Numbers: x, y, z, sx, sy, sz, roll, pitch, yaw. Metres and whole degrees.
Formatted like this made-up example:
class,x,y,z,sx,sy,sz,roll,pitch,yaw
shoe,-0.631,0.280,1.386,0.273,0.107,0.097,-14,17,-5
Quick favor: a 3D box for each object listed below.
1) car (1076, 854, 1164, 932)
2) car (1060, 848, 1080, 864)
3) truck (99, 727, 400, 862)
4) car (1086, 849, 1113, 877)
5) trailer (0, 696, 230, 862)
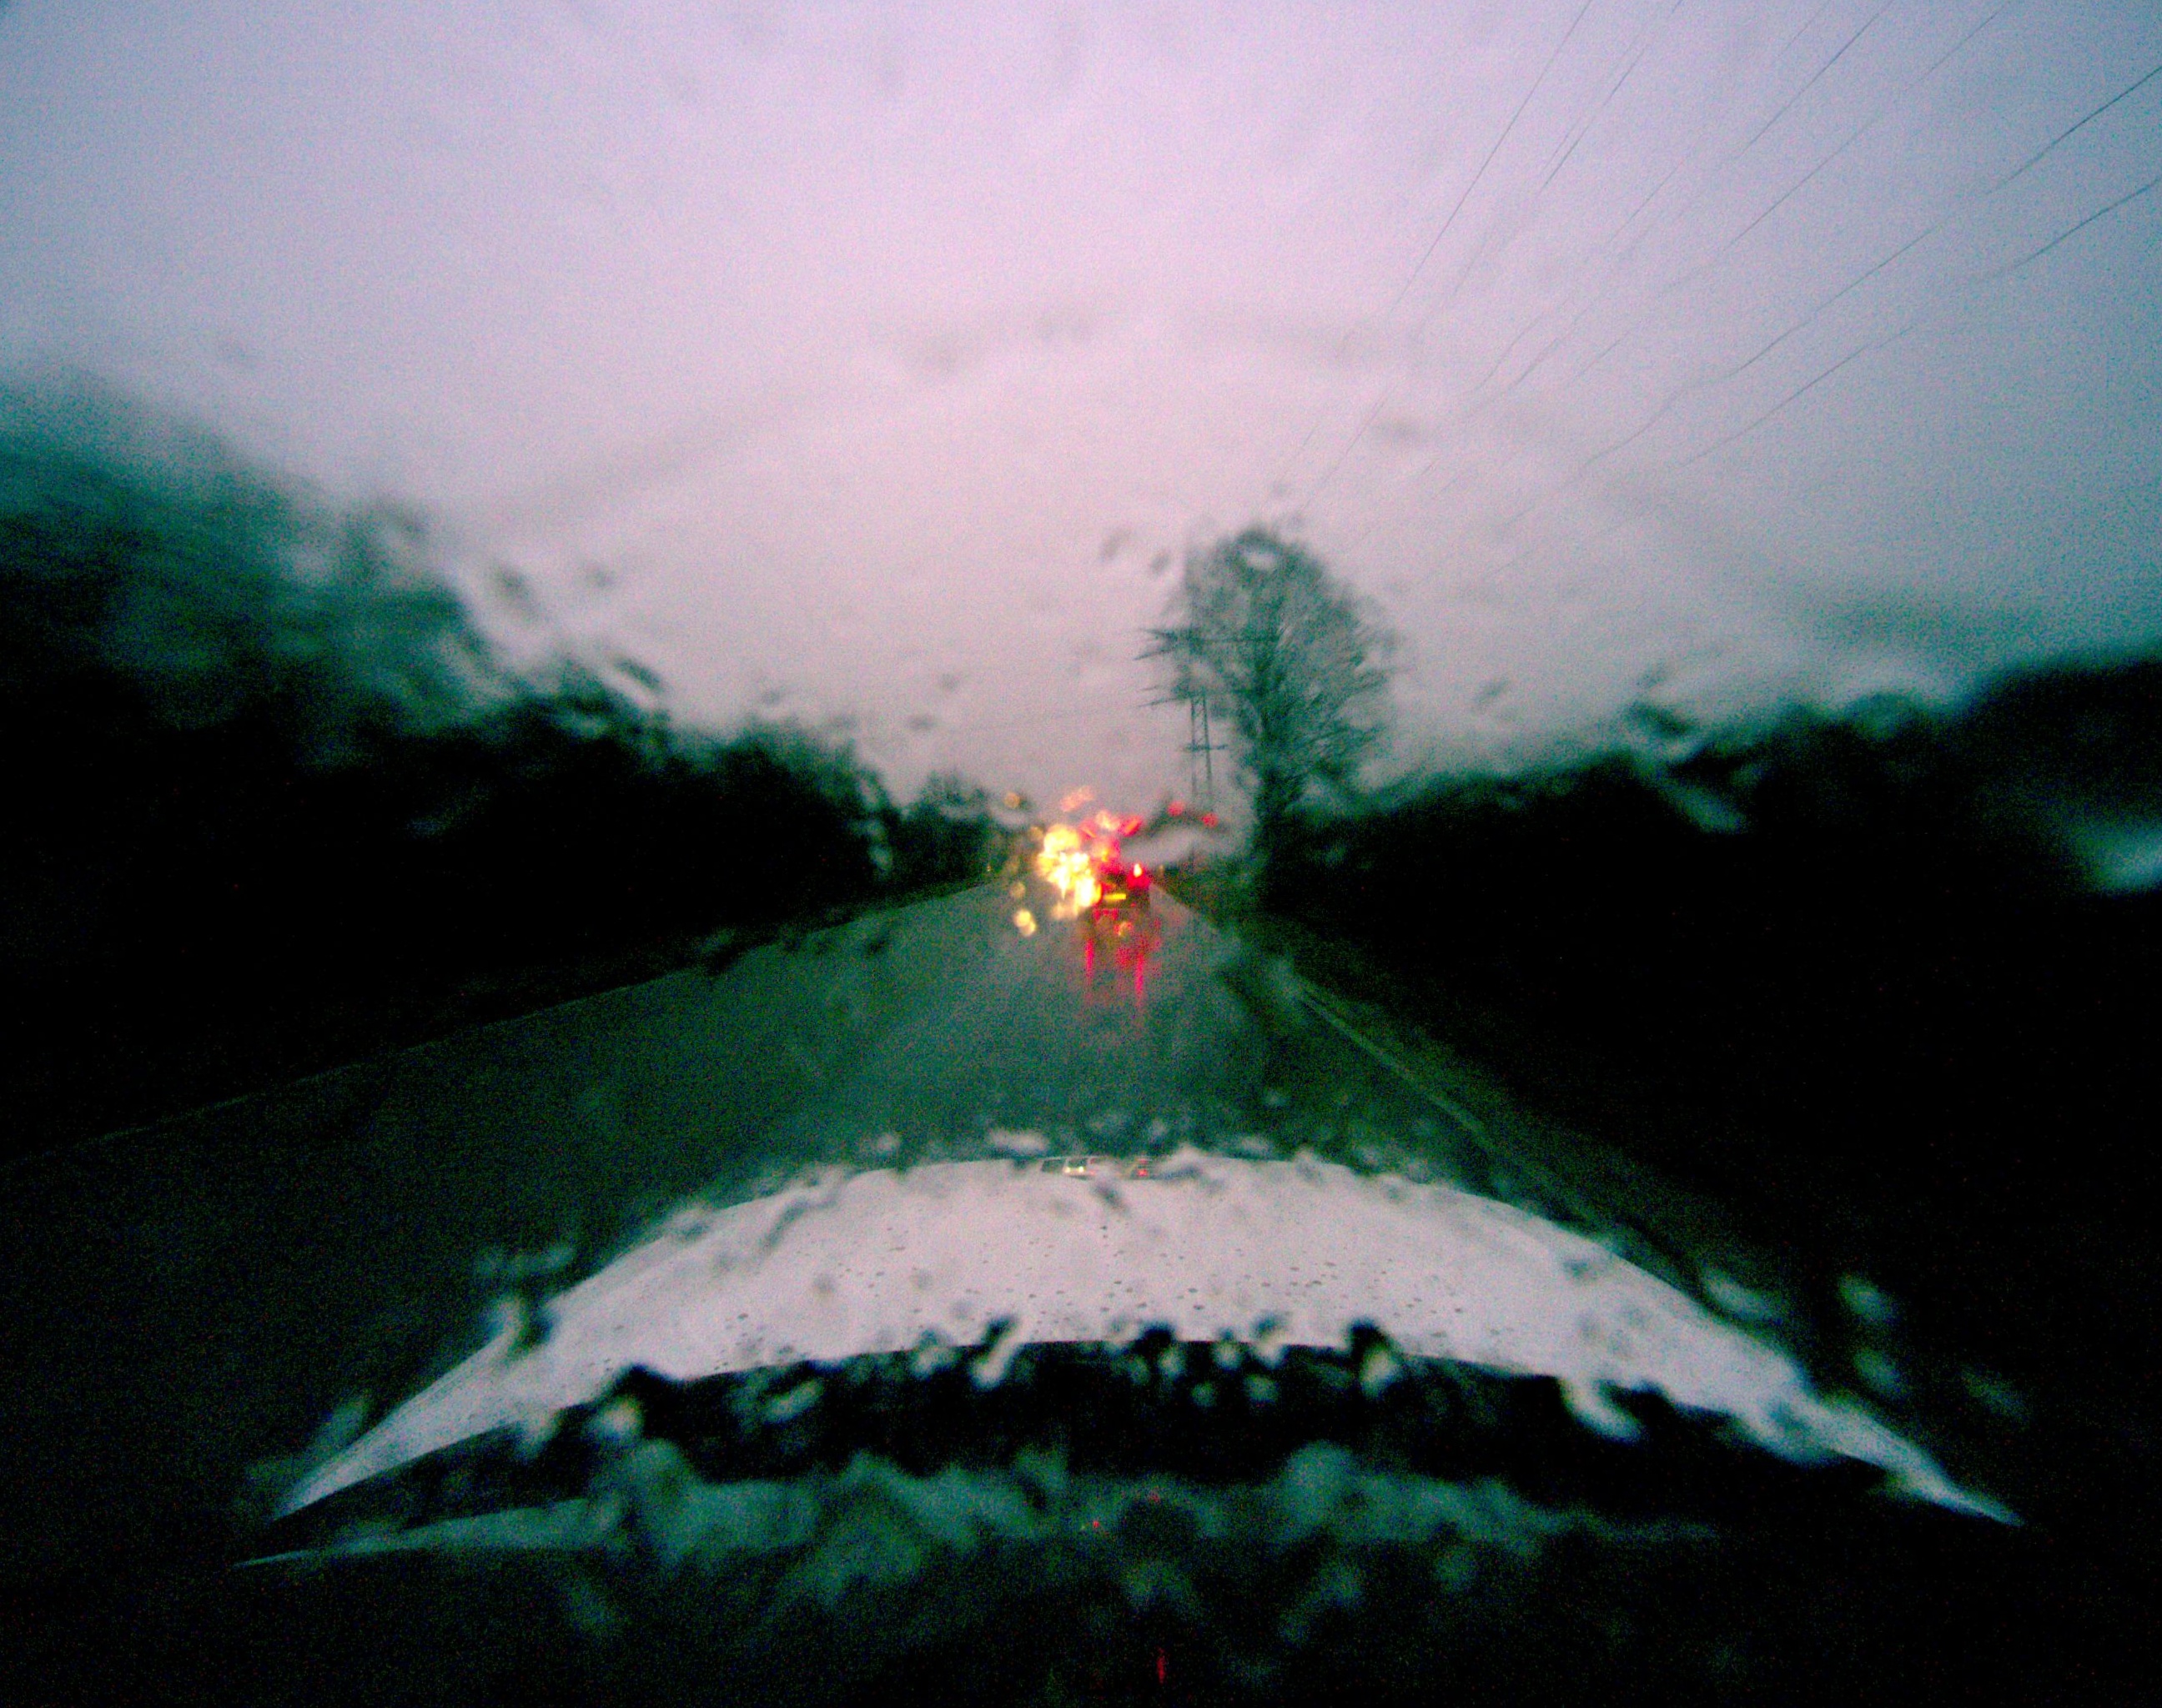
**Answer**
class,x,y,z,sx,sy,sz,roll,pitch,yaw
car,0.961,0.914,20.815,1.986,1.752,4.001,-2,0,1
car,-1.200,0.246,89.757,1.801,1.536,4.409,5,0,2
truck,-25.273,-1.620,25.294,2.981,3.632,6.068,-2,0,1
car,1.451,0.686,63.264,1.986,2.013,4.002,-2,0,2
trailer,-25.460,-1.658,17.126,2.988,3.633,11.389,-1,0,1
